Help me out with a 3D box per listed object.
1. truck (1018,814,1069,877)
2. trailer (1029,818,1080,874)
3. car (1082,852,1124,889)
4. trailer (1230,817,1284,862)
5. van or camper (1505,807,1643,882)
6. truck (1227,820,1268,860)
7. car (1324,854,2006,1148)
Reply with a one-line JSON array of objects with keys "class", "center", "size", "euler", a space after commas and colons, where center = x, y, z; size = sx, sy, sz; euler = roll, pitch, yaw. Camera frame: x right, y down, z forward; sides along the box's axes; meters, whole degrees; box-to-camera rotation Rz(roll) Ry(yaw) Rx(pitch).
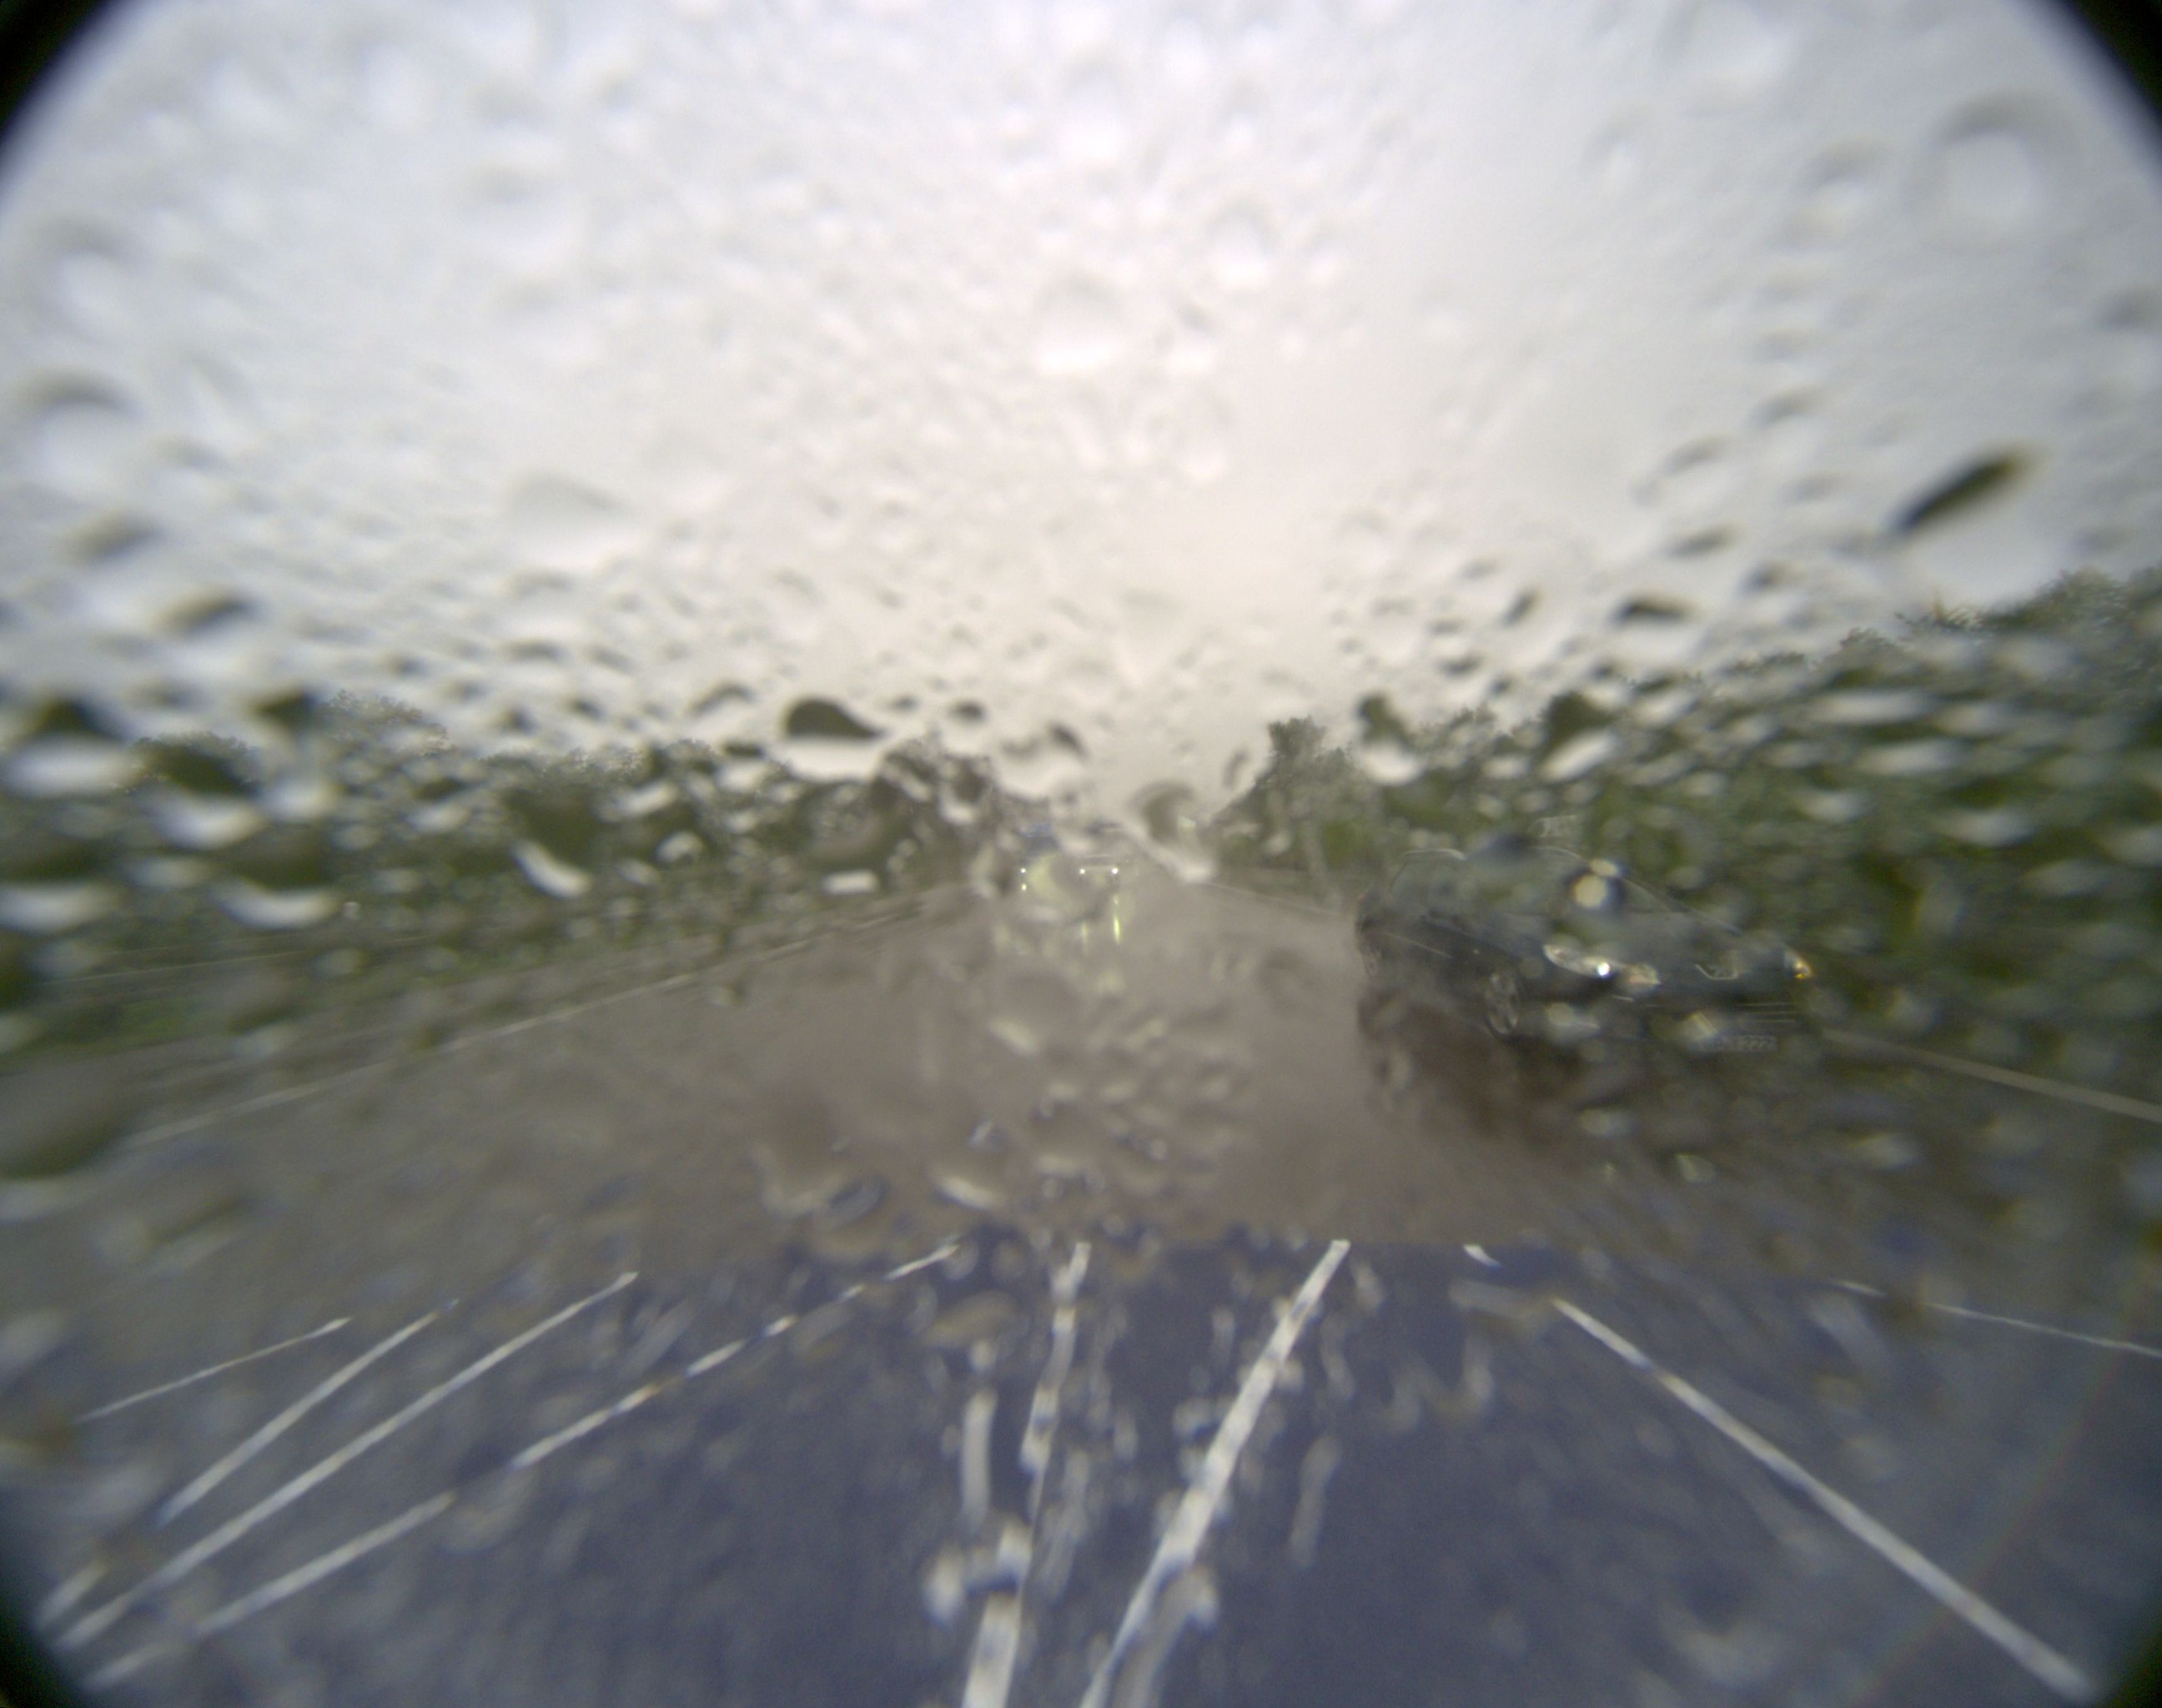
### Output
[{"class": "truck", "center": [-2.509, -0.579, 53.149], "size": [2.755, 4.055, 6.483], "euler": [-2, 1, 4]}, {"class": "trailer", "center": [-1.959, -0.585, 62.010], "size": [2.750, 3.941, 14.131], "euler": [-2, 0, 3]}, {"class": "car", "center": [1.097, 0.718, 35.321], "size": [1.751, 1.545, 4.091], "euler": [-2, 0, 4]}, {"class": "trailer", "center": [20.160, -1.594, 88.379], "size": [3.877, 4.668, 15.030], "euler": [-2, 0, 5]}, {"class": "van or camper", "center": [17.457, -0.325, 27.250], "size": [1.998, 2.380, 4.591], "euler": [-2, 1, 1]}, {"class": "truck", "center": [20.862, -1.674, 95.926], "size": [3.844, 4.612, 9.411], "euler": [-2, 0, 5]}, {"class": "car", "center": [3.962, 0.793, 6.659], "size": [2.059, 1.477, 5.158], "euler": [-2, 0, 1]}]
